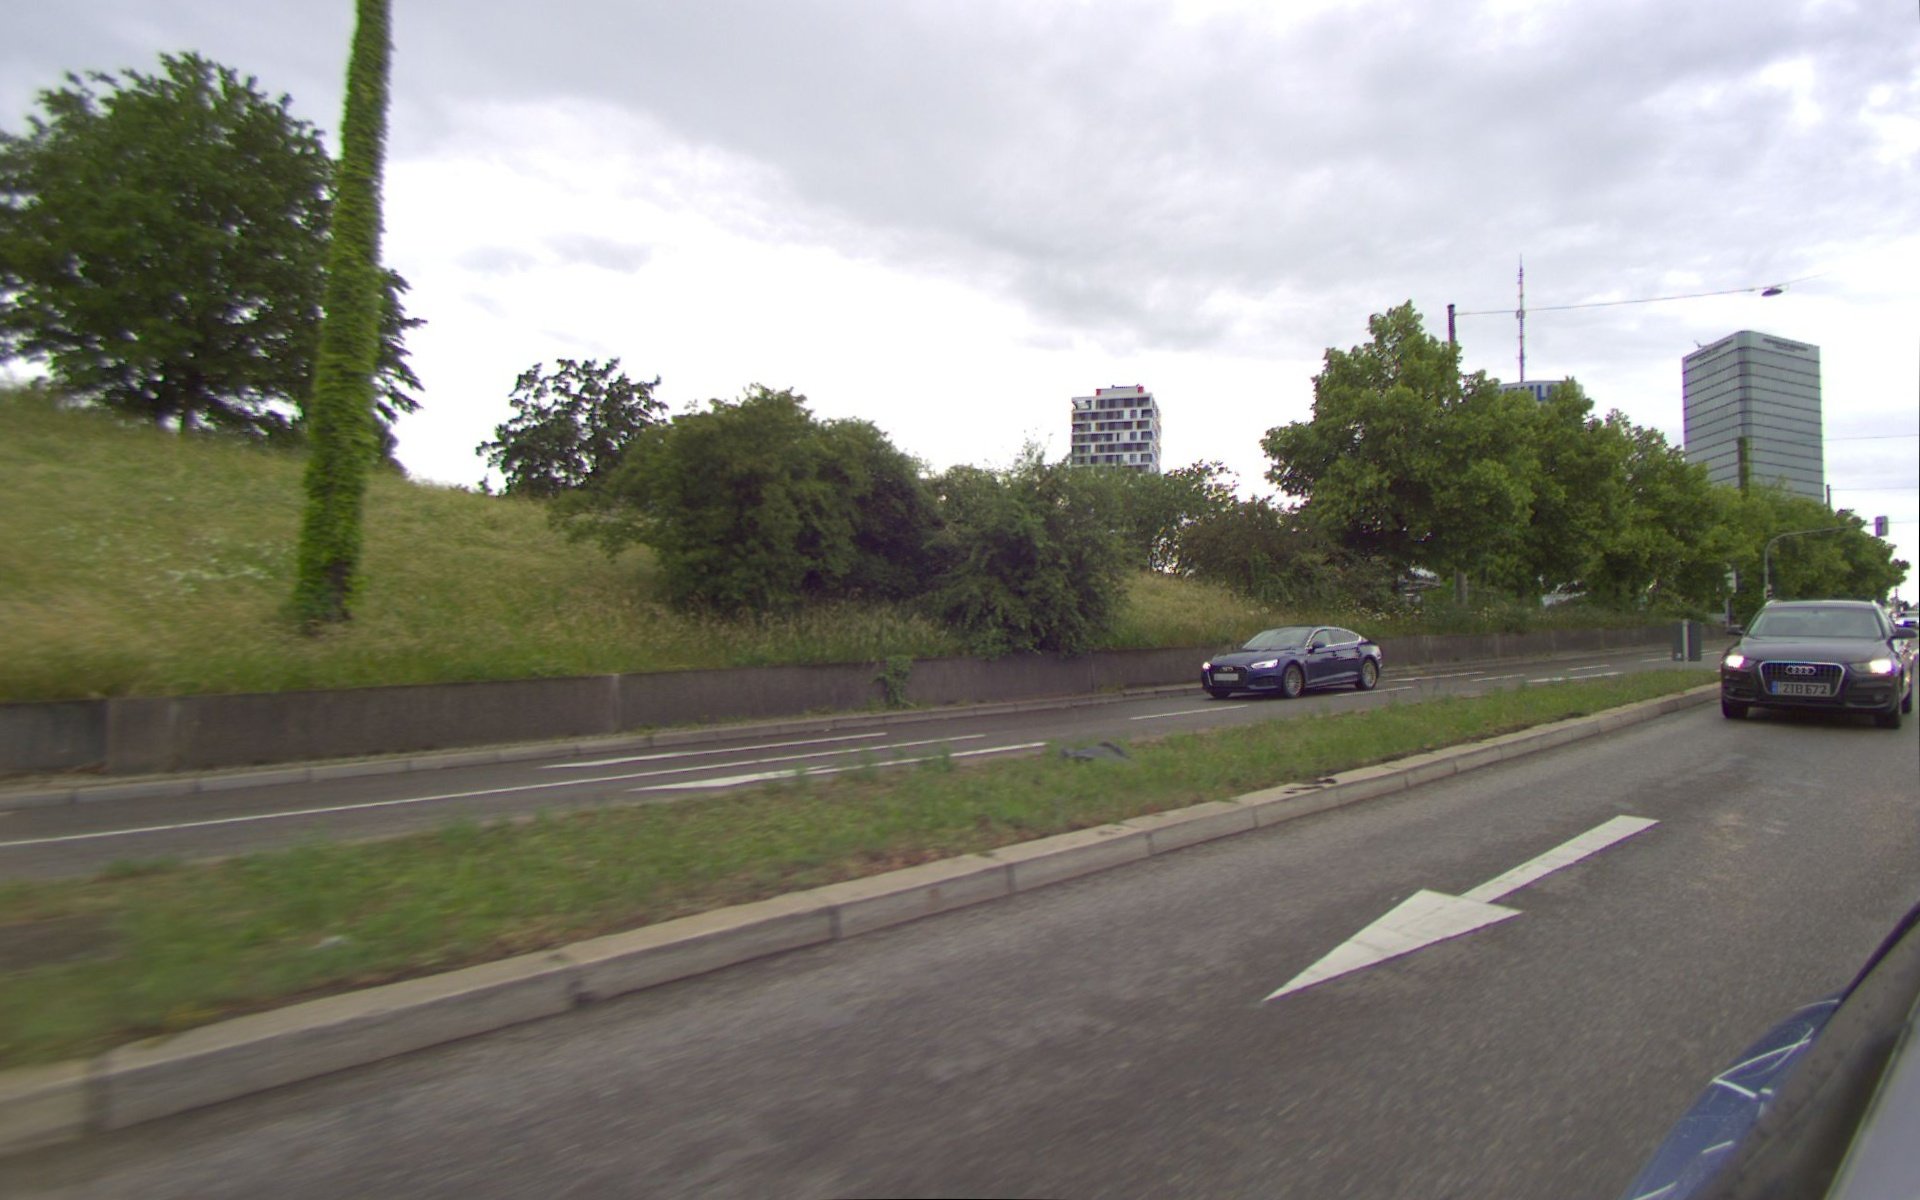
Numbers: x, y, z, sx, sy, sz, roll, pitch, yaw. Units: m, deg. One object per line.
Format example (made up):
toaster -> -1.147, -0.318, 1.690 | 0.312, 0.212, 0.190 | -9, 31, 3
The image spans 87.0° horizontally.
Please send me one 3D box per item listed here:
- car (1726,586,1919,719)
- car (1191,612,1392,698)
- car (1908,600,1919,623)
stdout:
car -> 11.942, 0.622, 13.863 | 4.059, 1.553, 1.726 | 0, -1, -45
car -> 6.716, 1.038, 20.320 | 4.272, 1.444, 1.874 | -1, -1, -41
car -> 72.117, 0.876, 75.645 | 1.628, 1.495, 3.622 | -2, -4, 40
